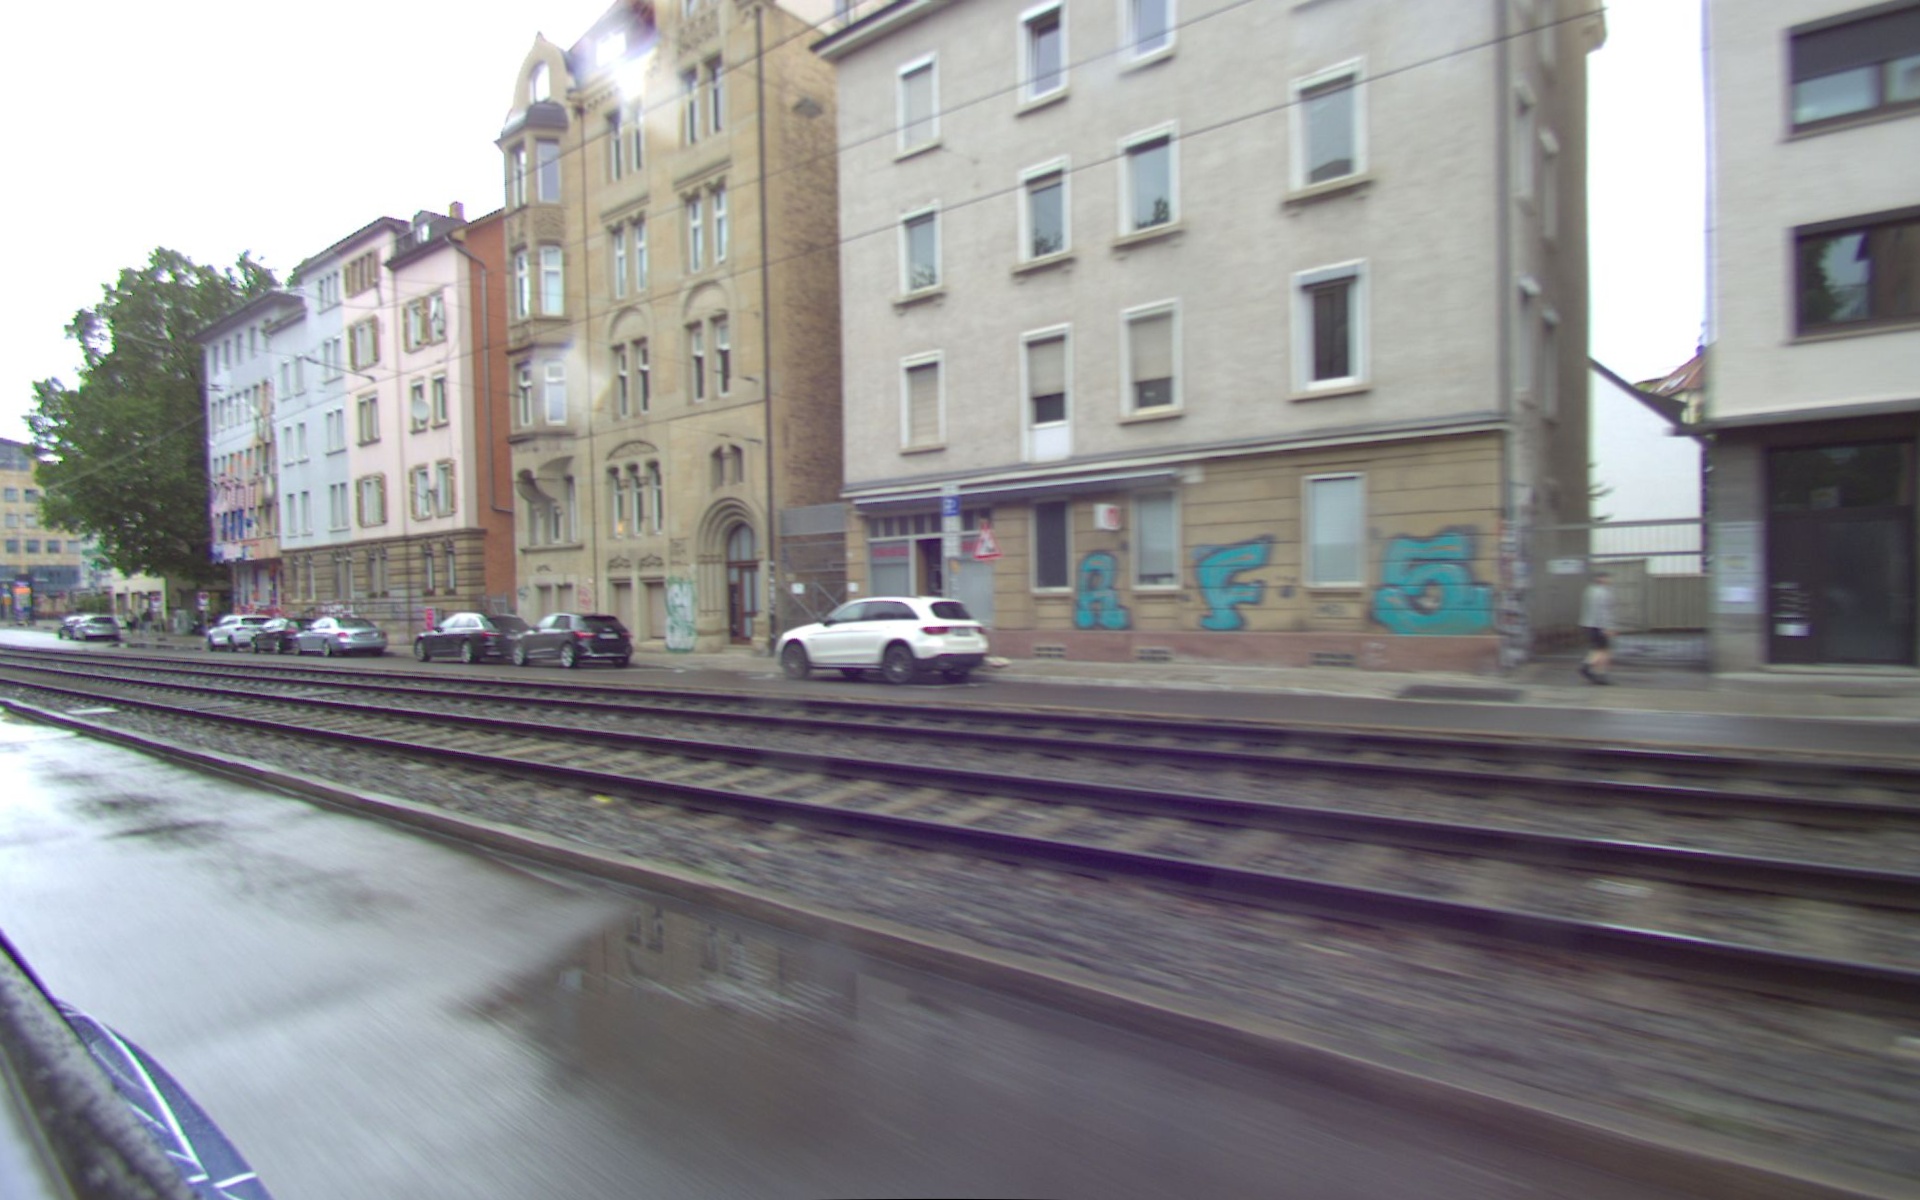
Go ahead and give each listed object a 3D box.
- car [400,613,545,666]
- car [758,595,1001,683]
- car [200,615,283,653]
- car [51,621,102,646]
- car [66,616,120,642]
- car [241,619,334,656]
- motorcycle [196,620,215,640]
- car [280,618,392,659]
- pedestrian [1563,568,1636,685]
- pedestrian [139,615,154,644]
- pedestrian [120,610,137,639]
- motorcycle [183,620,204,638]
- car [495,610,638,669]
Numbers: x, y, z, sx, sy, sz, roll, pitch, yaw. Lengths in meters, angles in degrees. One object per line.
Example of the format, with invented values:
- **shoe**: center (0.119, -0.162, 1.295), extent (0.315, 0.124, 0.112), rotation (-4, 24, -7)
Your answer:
- **car**: center (-14.844, 1.193, 30.689), extent (5.015, 1.467, 1.974), rotation (-2, -3, 38)
- **car**: center (-1.666, 0.768, 20.065), extent (4.743, 1.548, 1.974), rotation (-2, -3, 38)
- **car**: center (-31.600, 1.491, 44.482), extent (4.221, 1.617, 1.821), rotation (-2, -2, 38)
- **car**: center (-57.257, 2.170, 65.575), extent (4.224, 1.553, 1.820), rotation (-2, -2, 40)
- **car**: center (-53.670, 1.767, 62.616), extent (4.224, 1.553, 1.820), rotation (-2, -2, 40)
- **car**: center (-27.040, 1.482, 40.656), extent (4.259, 1.408, 1.821), rotation (-2, -2, 38)
- **motorcycle**: center (-46.495, 1.842, 62.372), extent (2.016, 1.190, 0.432), rotation (-2, 0, 40)
- **car**: center (-23.115, 1.418, 37.426), extent (5.017, 1.408, 1.973), rotation (-2, -3, 40)
- **pedestrian**: center (9.339, 0.377, 14.782), extent (0.798, 1.624, 0.541), rotation (-1, 2, 41)
- **pedestrian**: center (-53.530, 1.909, 66.597), extent (0.536, 1.883, 0.643), rotation (-2, -1, 42)
- **pedestrian**: center (-54.287, 1.595, 66.100), extent (0.536, 1.883, 0.799), rotation (-2, -1, 42)
- **motorcycle**: center (-48.890, 1.848, 64.567), extent (2.563, 1.154, 0.467), rotation (-2, 0, 40)
- **car**: center (-10.679, 1.073, 27.357), extent (4.165, 1.467, 1.719), rotation (-2, -3, 38)
